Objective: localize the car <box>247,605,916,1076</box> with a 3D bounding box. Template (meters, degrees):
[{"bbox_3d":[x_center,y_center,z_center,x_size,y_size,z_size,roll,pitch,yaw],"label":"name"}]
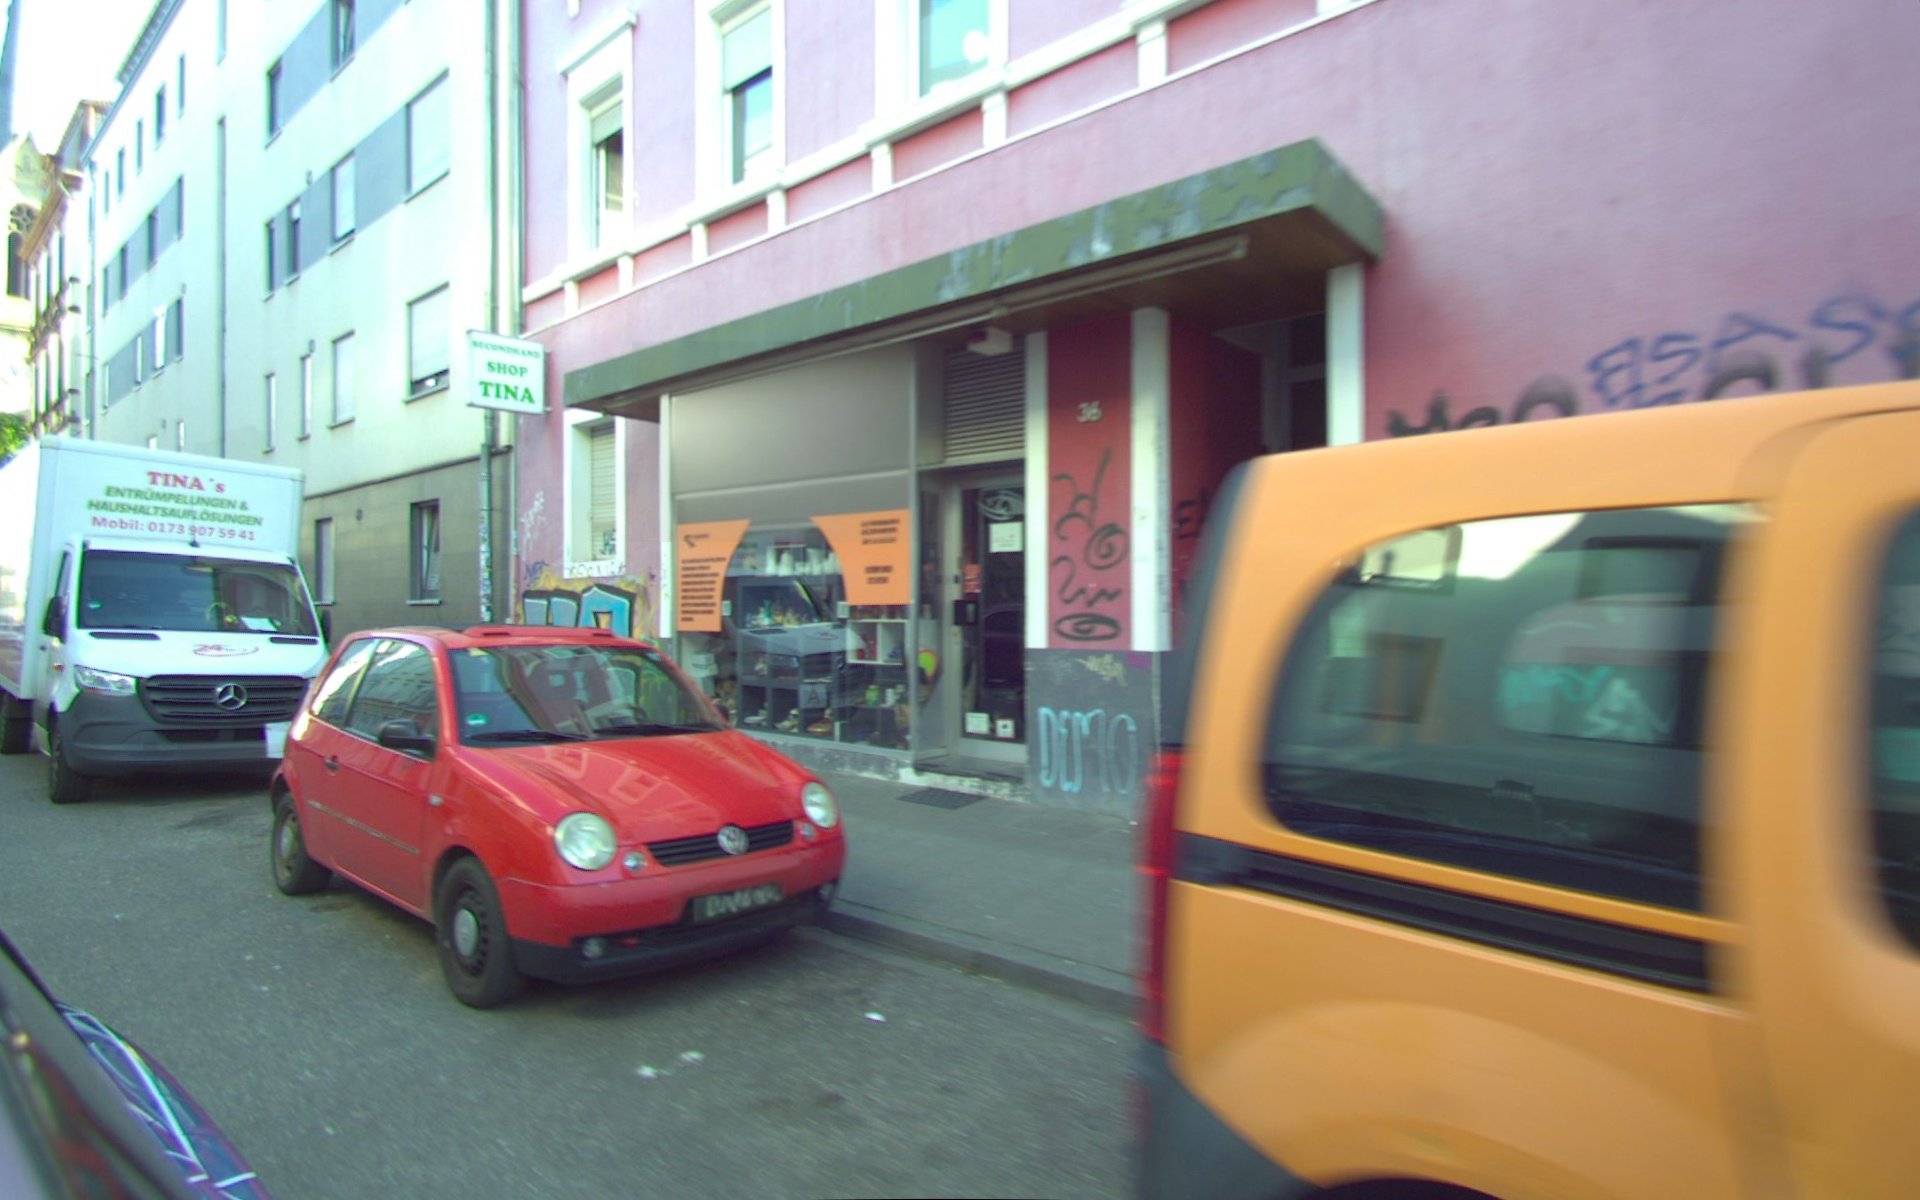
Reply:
[{"bbox_3d":[-2.058,0.800,5.010,3.563,1.495,1.562,0,-2,41],"label":"car"}]

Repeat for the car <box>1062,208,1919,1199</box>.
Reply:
[{"bbox_3d":[2.280,0.543,1.029,4.075,1.830,1.734,0,-2,41],"label":"car"}]

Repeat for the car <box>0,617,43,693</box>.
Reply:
[{"bbox_3d":[-20.697,1.114,21.124,4.496,1.490,1.699,-2,-4,41],"label":"car"}]

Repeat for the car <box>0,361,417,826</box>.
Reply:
[{"bbox_3d":[-8.282,-0.001,10.466,7.152,3.316,2.318,0,-2,42],"label":"car"}]

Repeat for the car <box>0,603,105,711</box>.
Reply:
[{"bbox_3d":[-16.183,0.945,17.282,4.243,1.663,1.699,-2,-4,41],"label":"car"}]
